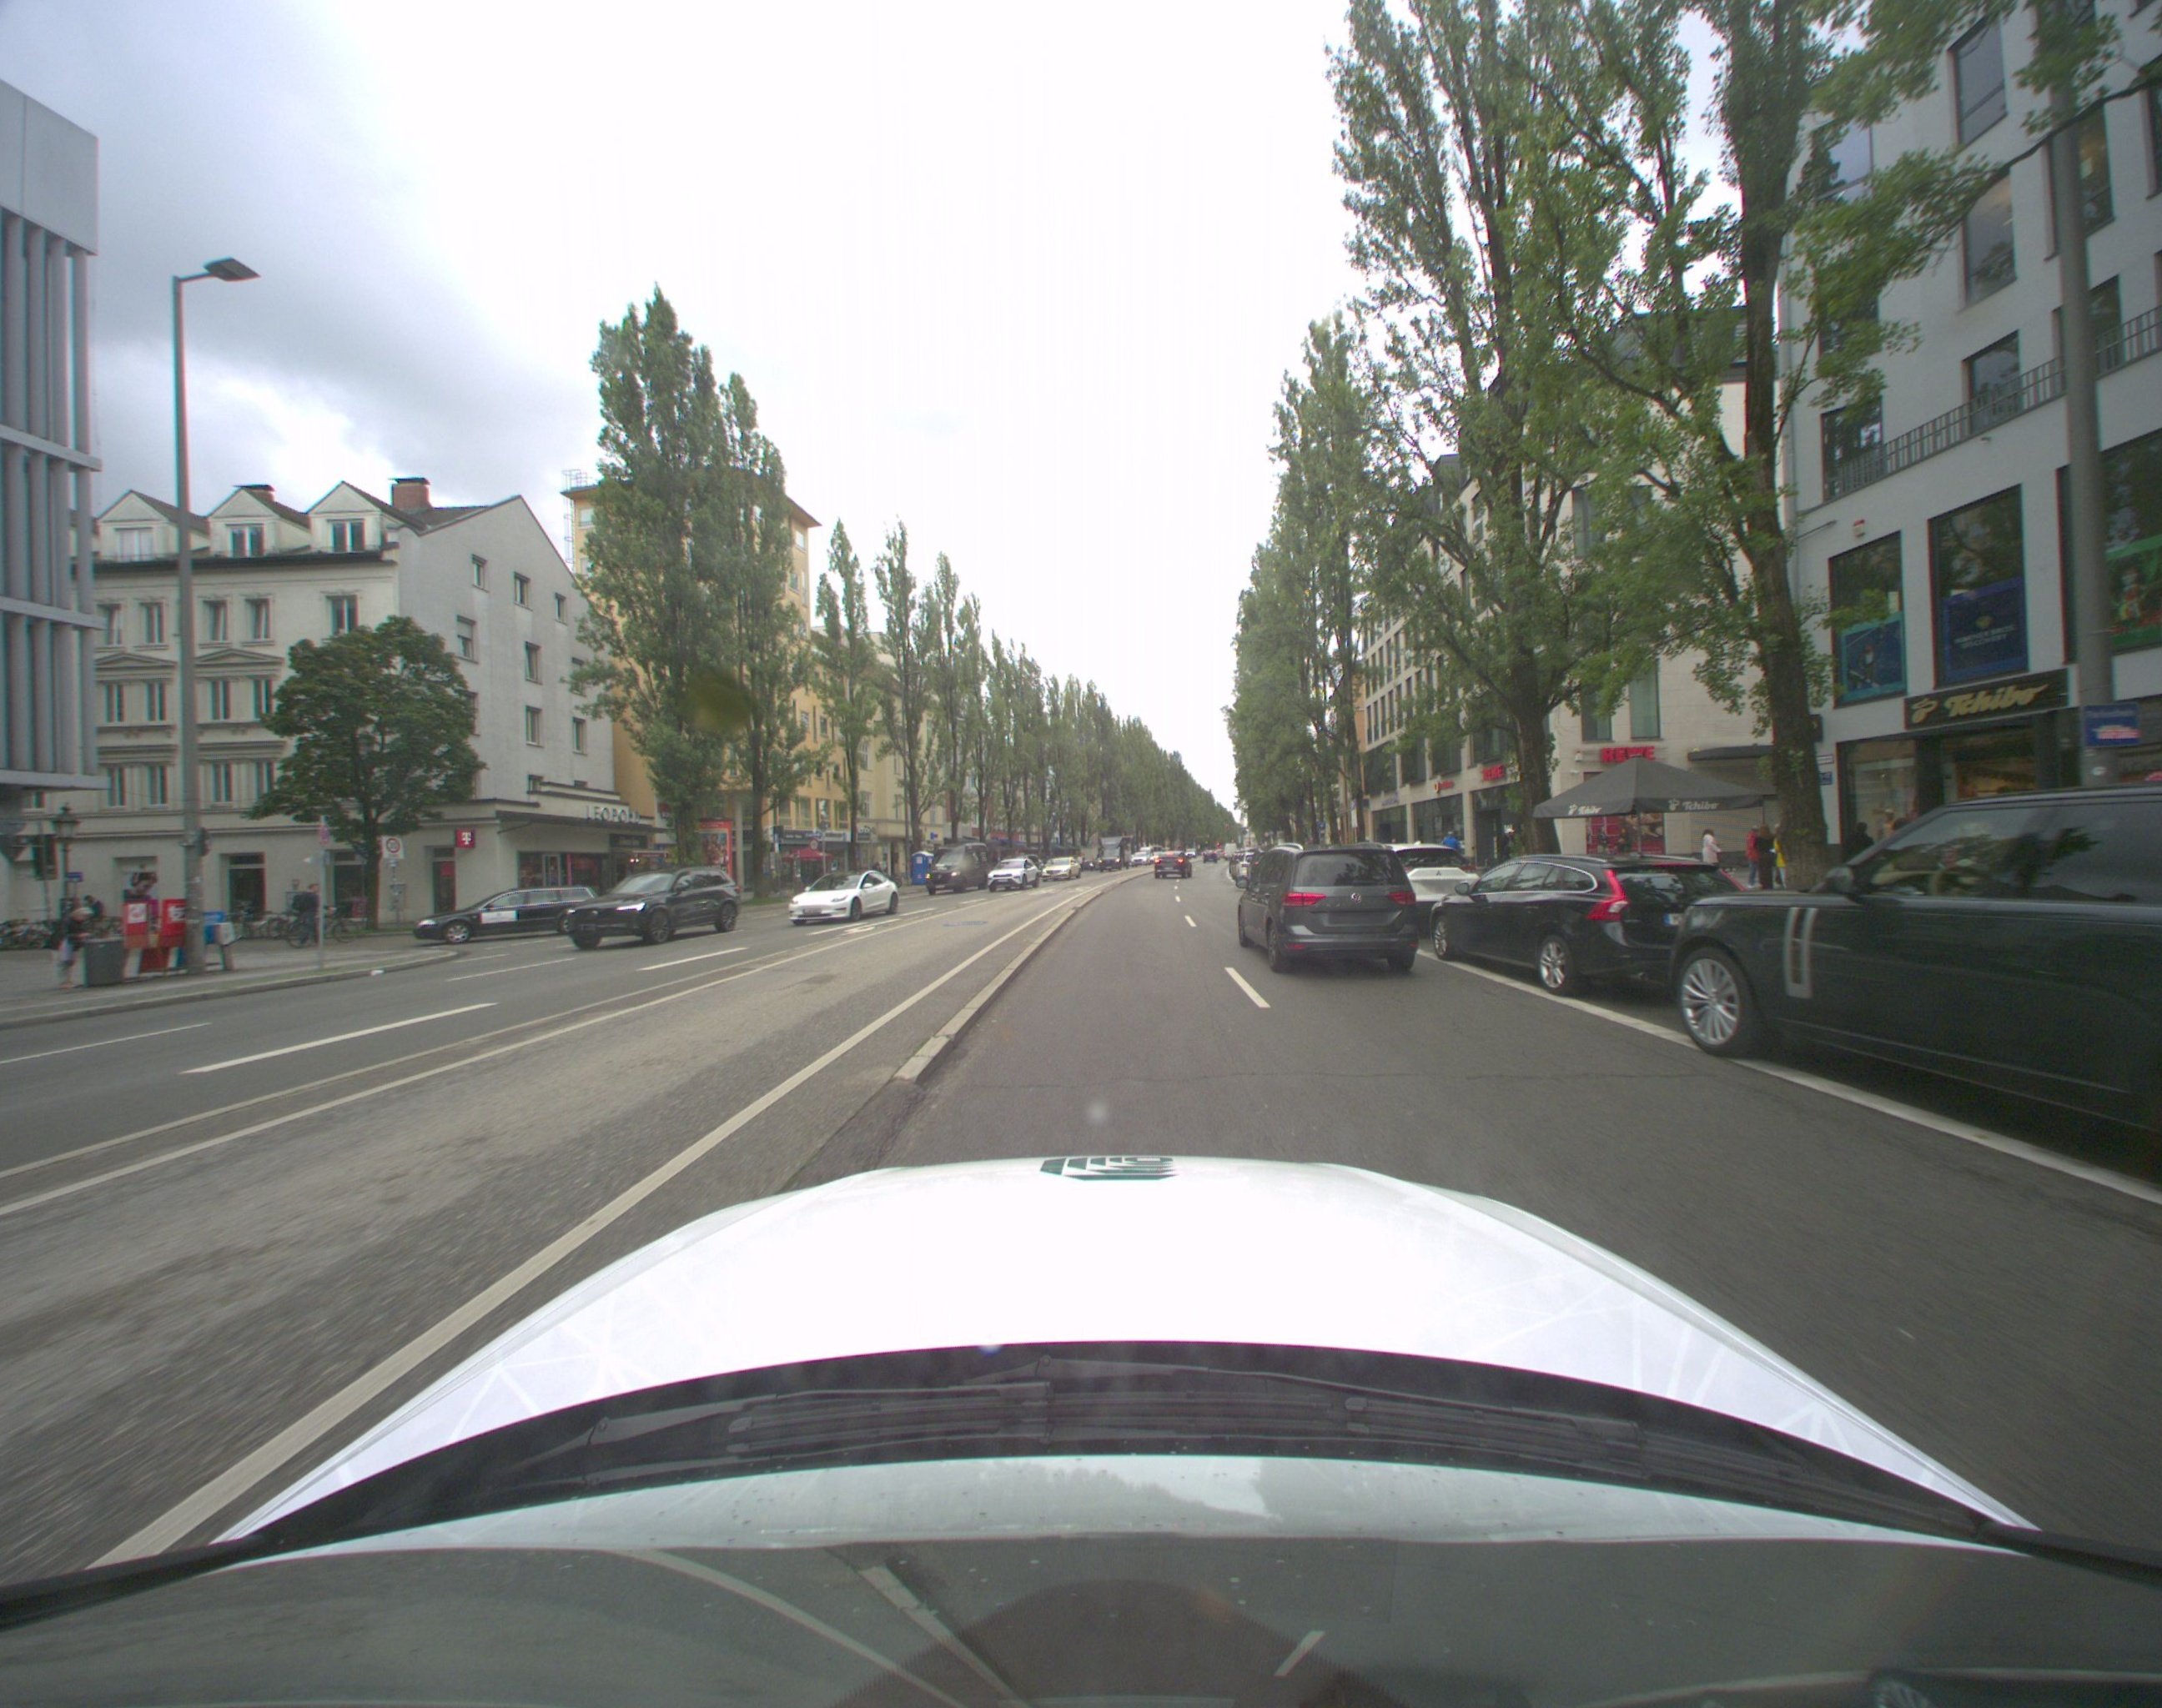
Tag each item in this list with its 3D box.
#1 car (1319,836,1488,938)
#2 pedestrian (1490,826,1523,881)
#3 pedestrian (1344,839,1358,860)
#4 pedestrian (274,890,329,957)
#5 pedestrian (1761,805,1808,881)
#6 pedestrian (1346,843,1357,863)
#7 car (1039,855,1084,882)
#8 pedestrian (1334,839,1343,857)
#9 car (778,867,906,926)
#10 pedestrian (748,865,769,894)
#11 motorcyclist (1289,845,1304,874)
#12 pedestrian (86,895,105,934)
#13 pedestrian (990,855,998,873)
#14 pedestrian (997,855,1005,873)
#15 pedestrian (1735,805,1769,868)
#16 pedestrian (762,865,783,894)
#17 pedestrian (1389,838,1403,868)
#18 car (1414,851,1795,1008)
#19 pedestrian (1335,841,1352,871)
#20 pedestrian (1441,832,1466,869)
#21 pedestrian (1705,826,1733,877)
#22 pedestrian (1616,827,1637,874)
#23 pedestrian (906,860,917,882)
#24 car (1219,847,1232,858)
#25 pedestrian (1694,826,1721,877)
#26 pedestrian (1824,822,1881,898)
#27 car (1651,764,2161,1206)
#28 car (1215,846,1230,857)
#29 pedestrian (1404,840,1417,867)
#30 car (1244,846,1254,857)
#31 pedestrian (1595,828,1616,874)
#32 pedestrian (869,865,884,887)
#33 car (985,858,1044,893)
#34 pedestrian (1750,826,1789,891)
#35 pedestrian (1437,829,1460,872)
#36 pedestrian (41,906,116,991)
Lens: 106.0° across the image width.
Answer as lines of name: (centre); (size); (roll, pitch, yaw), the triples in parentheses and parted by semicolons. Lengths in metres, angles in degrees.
car: (6.095, 0.554, 15.967); (1.720, 1.686, 4.411); (-1, 0, 3)
pedestrian: (15.374, -0.009, 29.460); (0.643, 1.924, 0.927); (-3, 0, 3)
pedestrian: (20.206, -0.343, 60.909); (0.606, 1.551, 0.711); (-3, 0, -16)
pedestrian: (-23.163, 2.049, 24.207); (0.850, 1.898, 0.837); (-3, 0, 23)
pedestrian: (15.601, -0.245, 18.069); (0.488, 1.634, 0.570); (-3, 0, 6)
pedestrian: (22.320, -0.060, 67.173); (0.723, 1.626, 0.809); (-3, 0, 21)
car: (-1.263, 0.968, 55.698); (1.982, 1.589, 5.209); (-4, 0, 9)
pedestrian: (23.405, -0.560, 74.076); (0.667, 1.613, 0.643); (-3, 0, 14)
car: (-6.918, 1.190, 24.158); (1.789, 1.394, 4.701); (-3, 0, 8)
pedestrian: (-18.524, 1.463, 46.743); (0.834, 1.625, 0.765); (-1, -1, 10)
motorcyclist: (10.858, 0.257, 41.053); (0.561, 1.406, 0.768); (-3, 0, 8)
pedestrian: (-39.603, 2.416, 32.731); (0.309, 1.513, 0.350); (-2, 0, 2)
pedestrian: (-9.288, 1.054, 86.922); (0.634, 1.862, 0.650); (-3, 0, 11)
pedestrian: (-8.529, 1.043, 86.939); (0.634, 1.862, 0.650); (-3, 0, 11)
pedestrian: (17.664, -0.451, 21.441); (0.550, 1.624, 0.502); (0, -1, -29)
pedestrian: (-17.629, 1.449, 46.578); (0.834, 1.625, 0.765); (-1, -1, 10)
pedestrian: (17.474, -0.033, 45.193); (0.544, 1.638, 0.562); (-2, 0, 35)
car: (5.756, 0.692, 9.793); (1.764, 1.433, 4.573); (0, 0, 2)
pedestrian: (16.610, 0.112, 51.585); (0.813, 1.869, 0.941); (-3, 0, 8)
pedestrian: (18.128, -0.171, 39.669); (0.794, 1.772, 0.679); (-3, 0, -13)
pedestrian: (20.177, -0.070, 25.751); (0.502, 1.580, 0.554); (-1, -1, 16)
pedestrian: (20.789, -0.137, 31.016); (0.465, 1.751, 0.428); (-2, 0, 8)
pedestrian: (-13.425, 1.353, 64.571); (0.535, 1.747, 0.757); (-2, 0, 12)
car: (26.407, -0.290, 148.661); (1.979, 1.717, 4.015); (-3, 0, 14)
pedestrian: (20.241, -0.074, 26.309); (0.502, 1.624, 0.502); (-1, -1, 16)
pedestrian: (16.504, 0.121, 17.432); (0.565, 1.576, 0.672); (-3, 0, -24)
car: (5.414, 0.522, 4.127); (1.921, 1.805, 4.784); (-1, 0, 4)
car: (22.941, -0.439, 131.825); (1.979, 1.717, 4.015); (-3, 0, 14)
pedestrian: (18.245, -0.040, 45.123); (0.497, 1.491, 0.551); (-2, 0, 36)
car: (30.364, -0.389, 147.149); (1.793, 1.992, 4.013); (-1, -1, 12)
pedestrian: (20.104, -0.125, 31.224); (0.427, 1.751, 0.465); (-2, 0, -21)
pedestrian: (-14.994, 1.576, 59.714); (0.629, 1.561, 0.819); (-2, 0, 13)
car: (-3.393, 1.094, 42.613); (1.897, 1.603, 4.368); (-3, 0, 11)
pedestrian: (17.428, 0.109, 20.616); (0.544, 1.624, 0.509); (-1, -1, 10)
pedestrian: (14.372, -0.143, 31.881); (0.606, 1.619, 0.797); (-3, 0, 13)
pedestrian: (-18.822, 1.764, 15.295); (0.543, 1.495, 0.656); (-2, 0, 3)
